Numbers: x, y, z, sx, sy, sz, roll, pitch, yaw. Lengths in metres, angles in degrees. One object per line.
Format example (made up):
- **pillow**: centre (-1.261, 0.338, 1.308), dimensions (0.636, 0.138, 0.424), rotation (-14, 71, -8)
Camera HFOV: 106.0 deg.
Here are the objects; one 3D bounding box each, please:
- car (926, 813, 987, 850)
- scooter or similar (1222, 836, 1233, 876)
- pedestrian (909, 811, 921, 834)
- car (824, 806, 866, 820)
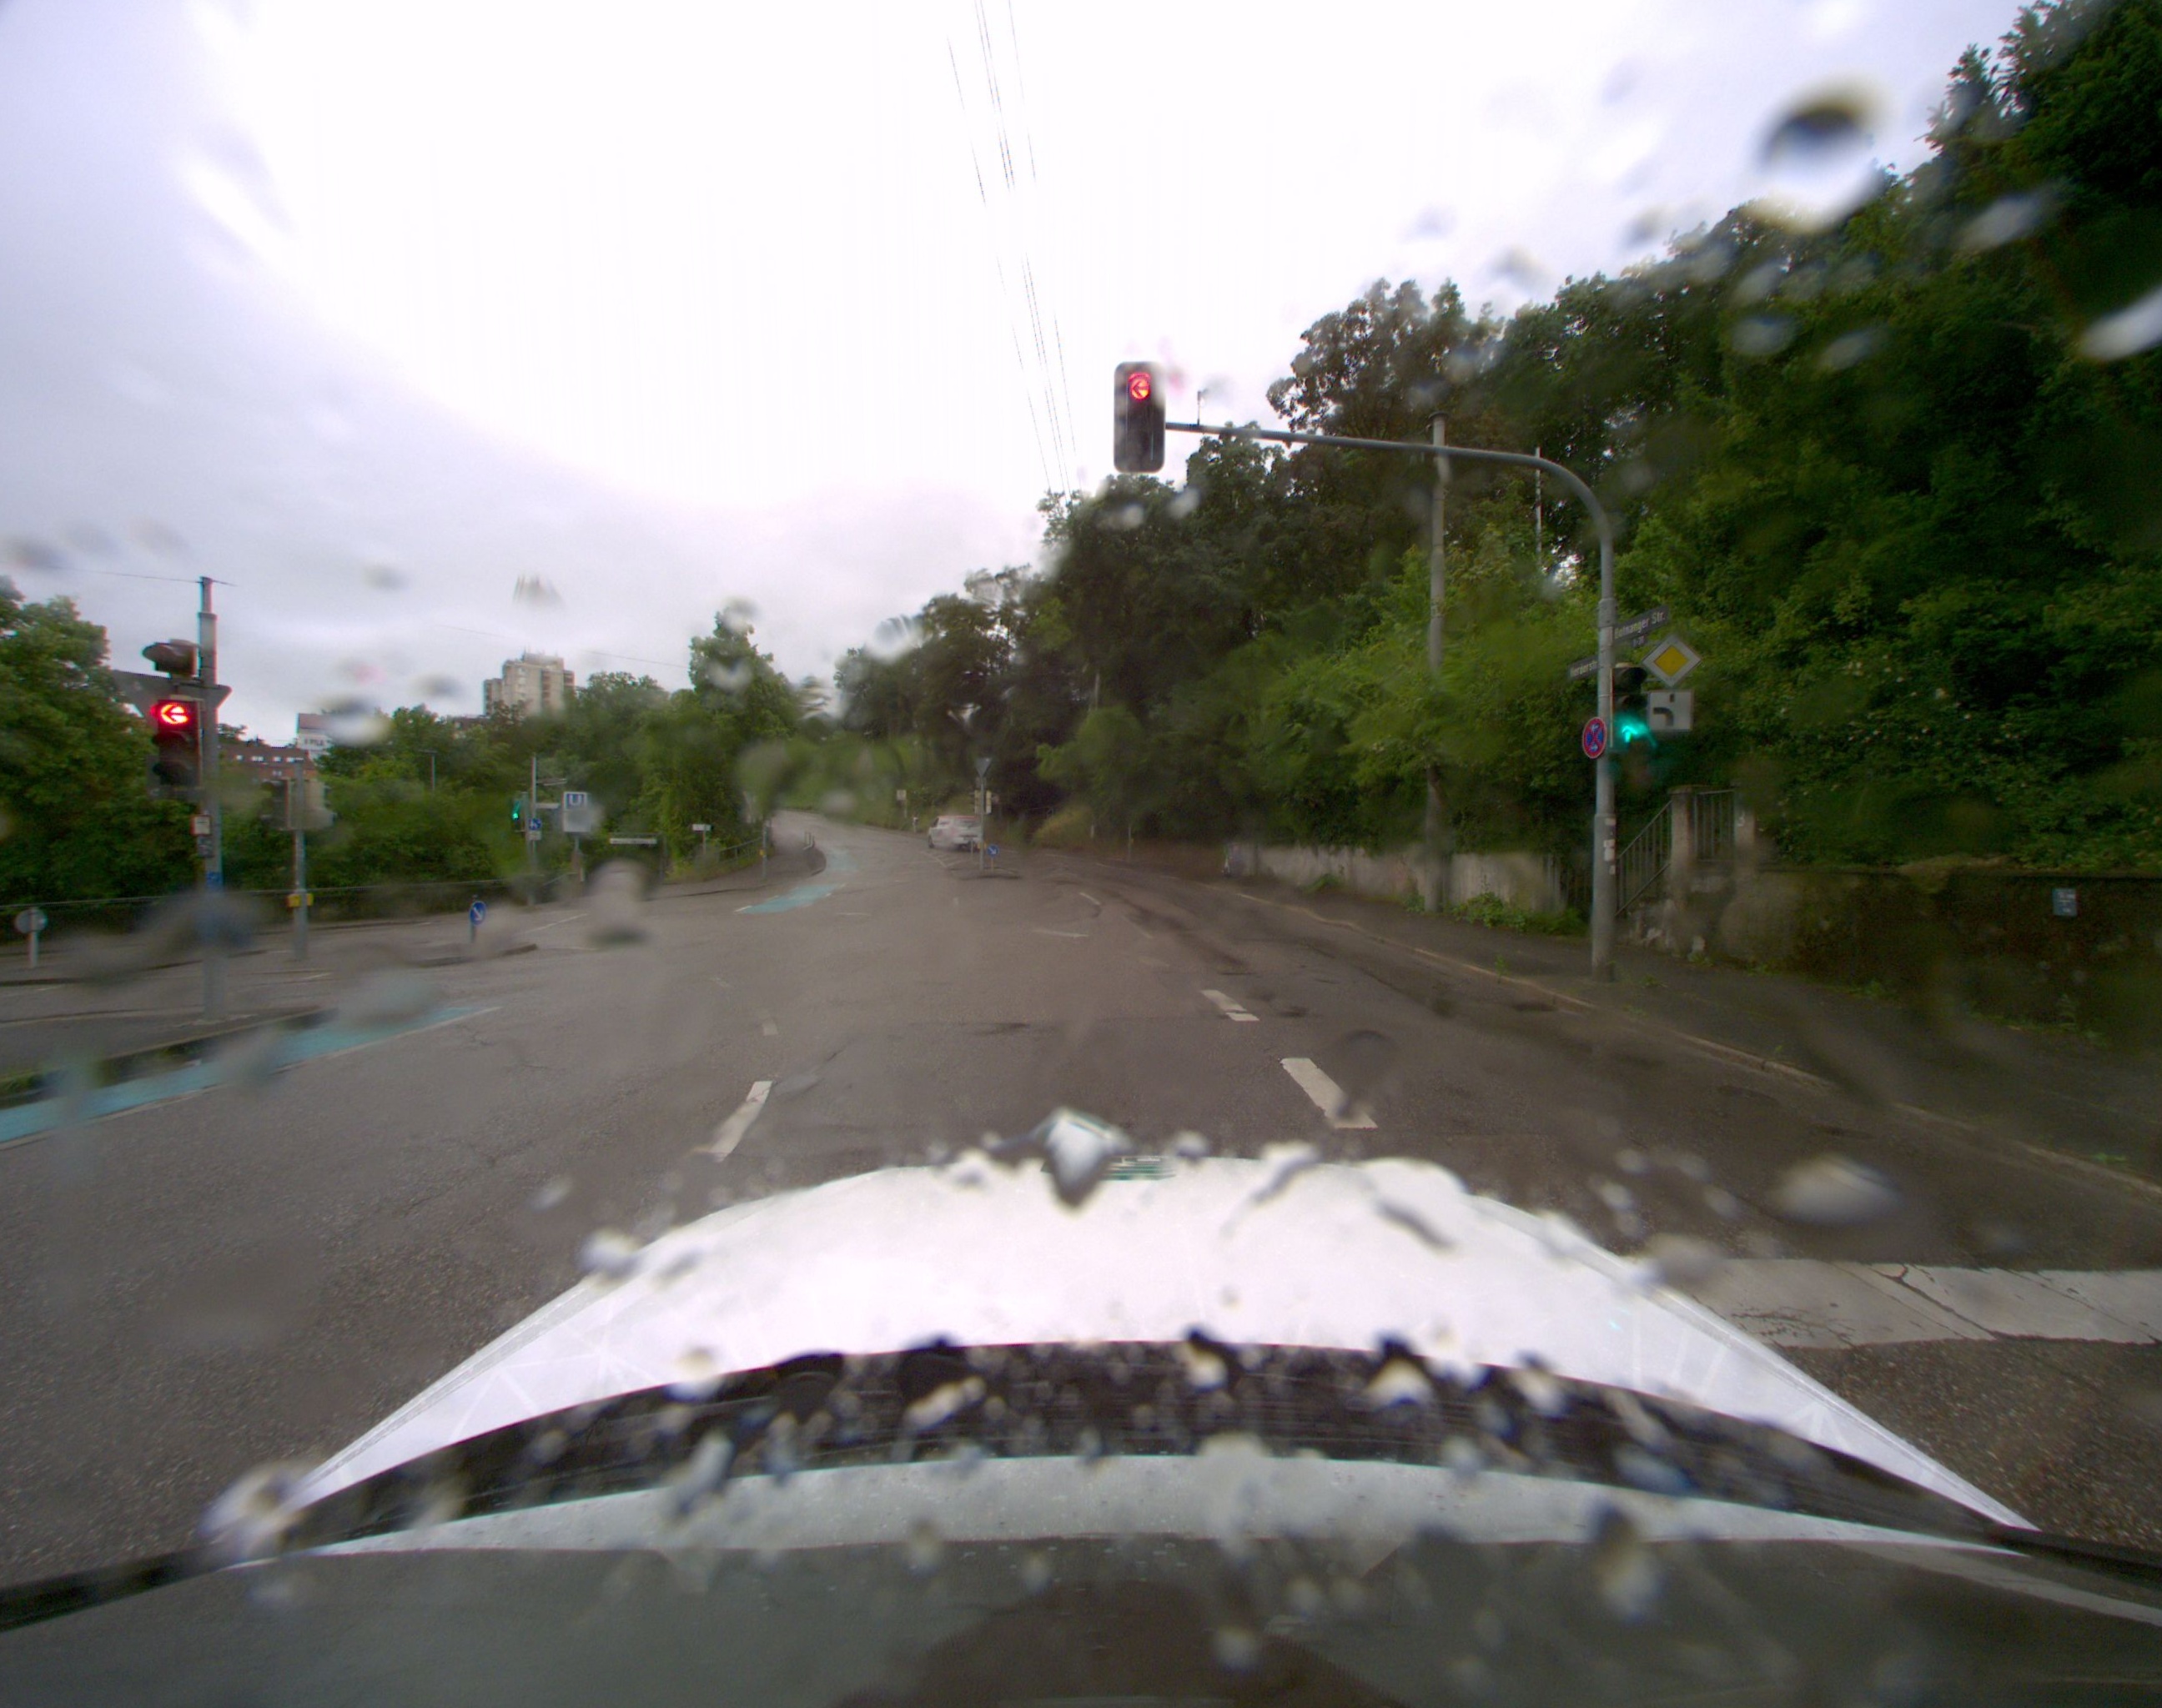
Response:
- **car**: centre (-7.172, -1.283, 46.679), dimensions (2.077, 2.006, 4.773), rotation (-1, 1, -27)
- **scooter or similar**: centre (4.818, 0.057, 26.727), dimensions (0.320, 1.279, 0.753), rotation (-1, 2, 10)
- **pedestrian**: centre (-12.992, -2.454, 63.729), dimensions (0.882, 1.736, 0.861), rotation (0, -1, -15)
- **car**: centre (-27.429, -4.776, 94.728), dimensions (4.357, 1.511, 1.971), rotation (1, 3, 15)
